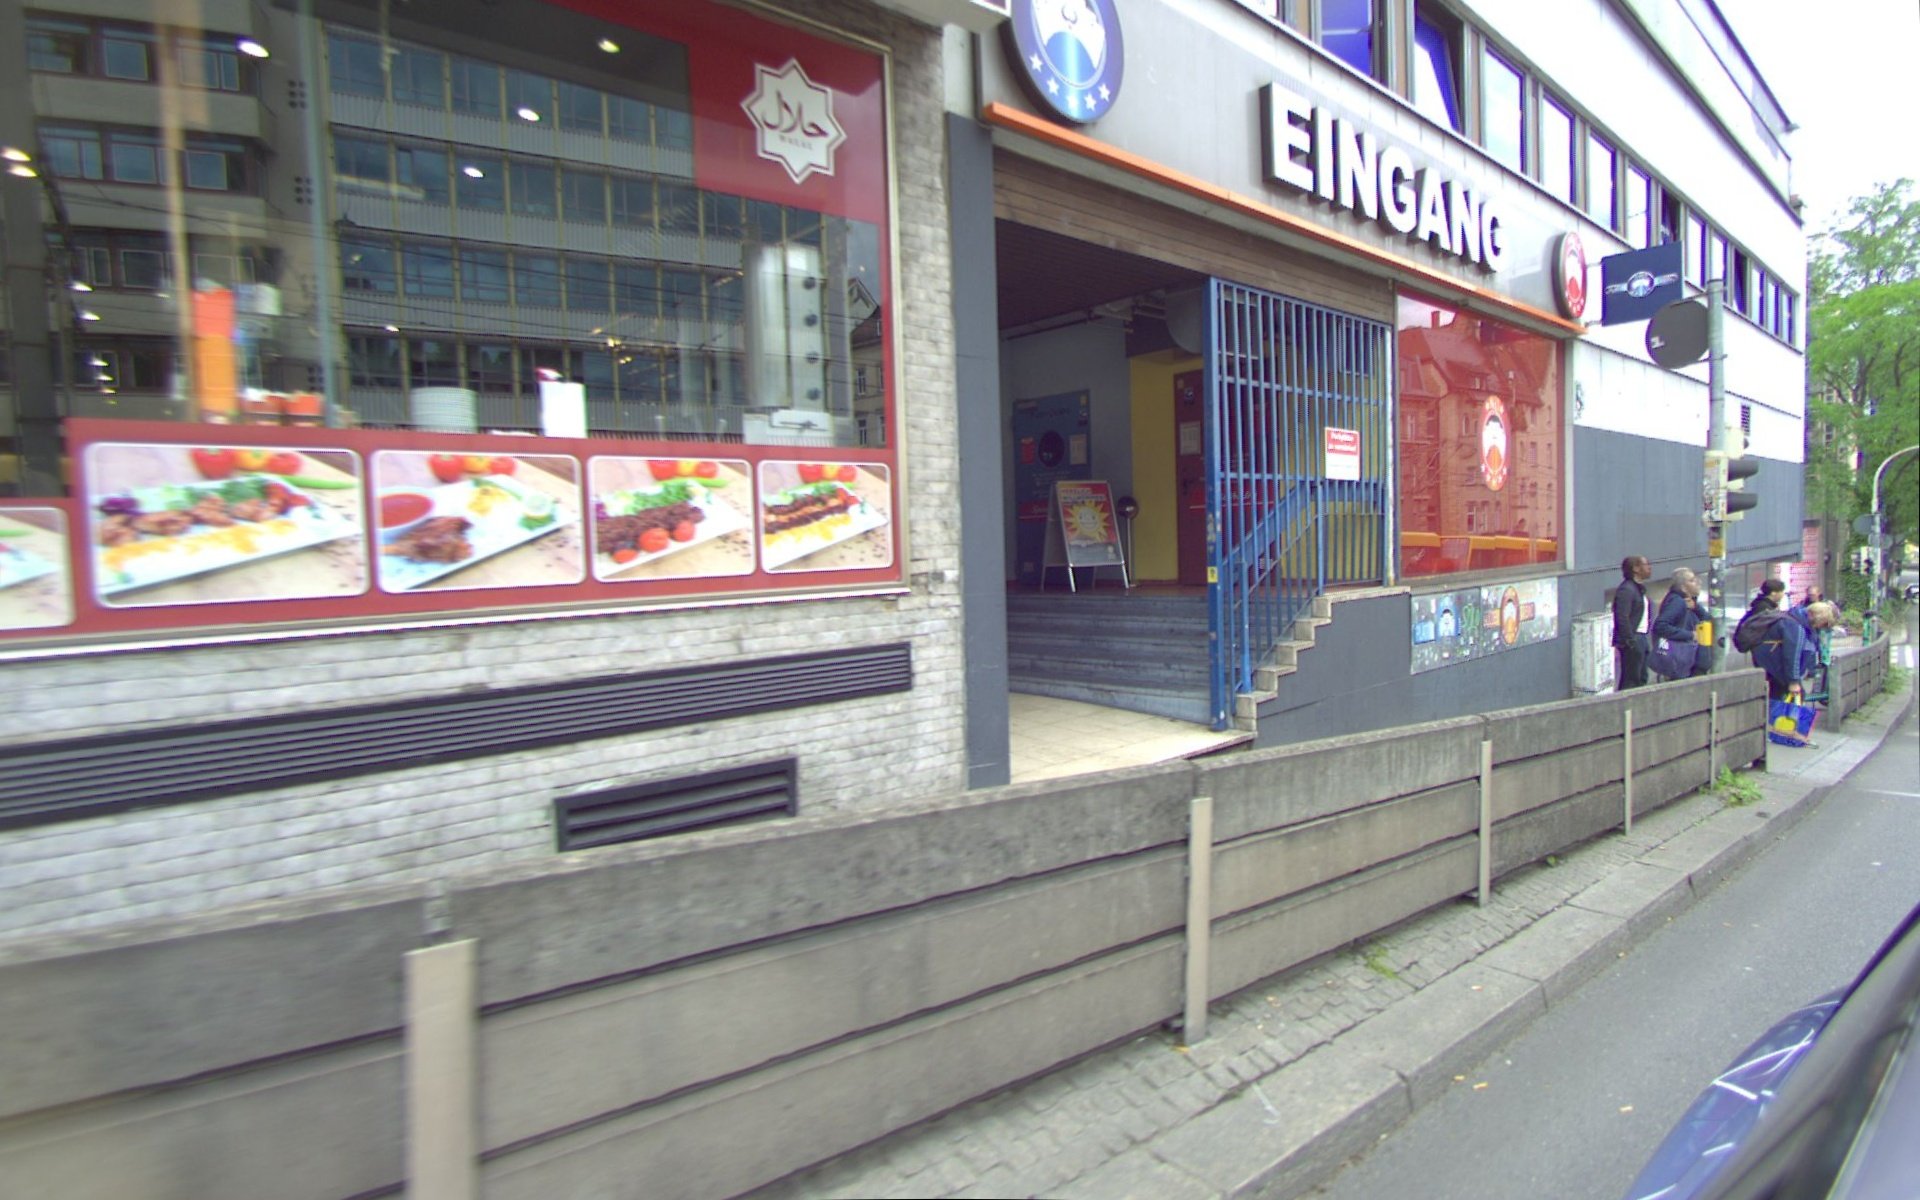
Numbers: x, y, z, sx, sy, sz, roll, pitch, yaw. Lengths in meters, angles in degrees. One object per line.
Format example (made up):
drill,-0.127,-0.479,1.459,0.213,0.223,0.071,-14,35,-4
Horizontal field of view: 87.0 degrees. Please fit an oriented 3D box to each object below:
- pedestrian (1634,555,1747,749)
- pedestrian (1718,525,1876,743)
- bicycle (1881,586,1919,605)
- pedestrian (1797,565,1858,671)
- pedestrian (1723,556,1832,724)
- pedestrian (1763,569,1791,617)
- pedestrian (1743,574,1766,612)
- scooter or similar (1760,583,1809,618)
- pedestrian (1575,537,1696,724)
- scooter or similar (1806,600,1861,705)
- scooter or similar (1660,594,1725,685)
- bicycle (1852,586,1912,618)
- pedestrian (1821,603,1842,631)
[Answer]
pedestrian,6.678,0.450,9.258,0.581,1.670,0.563,0,6,-42
pedestrian,8.687,0.315,10.519,0.765,2.086,0.949,-1,7,-42
bicycle,59.146,-0.276,63.396,2.081,1.099,0.703,-2,-1,37
pedestrian,15.285,0.303,17.824,0.869,1.808,0.721,-1,0,-44
pedestrian,9.385,0.424,11.625,0.644,1.814,0.739,0,5,-42
pedestrian,33.038,-0.288,40.914,0.864,1.913,0.706,-1,0,-40
pedestrian,32.536,-0.292,41.439,0.652,1.542,0.624,-1,0,-40
scooter or similar,31.938,-0.004,39.226,0.618,1.269,1.394,-1,3,-11
pedestrian,7.070,0.296,10.605,0.643,1.828,0.729,0,7,-42
scooter or similar,11.340,0.662,13.131,0.800,1.291,0.354,0,6,-44
scooter or similar,10.757,0.566,14.862,0.961,1.292,0.429,0,1,-32
bicycle,36.923,0.067,40.551,1.738,1.237,0.534,2,2,40
pedestrian,29.204,0.571,33.915,0.573,0.922,0.484,1,0,-43
